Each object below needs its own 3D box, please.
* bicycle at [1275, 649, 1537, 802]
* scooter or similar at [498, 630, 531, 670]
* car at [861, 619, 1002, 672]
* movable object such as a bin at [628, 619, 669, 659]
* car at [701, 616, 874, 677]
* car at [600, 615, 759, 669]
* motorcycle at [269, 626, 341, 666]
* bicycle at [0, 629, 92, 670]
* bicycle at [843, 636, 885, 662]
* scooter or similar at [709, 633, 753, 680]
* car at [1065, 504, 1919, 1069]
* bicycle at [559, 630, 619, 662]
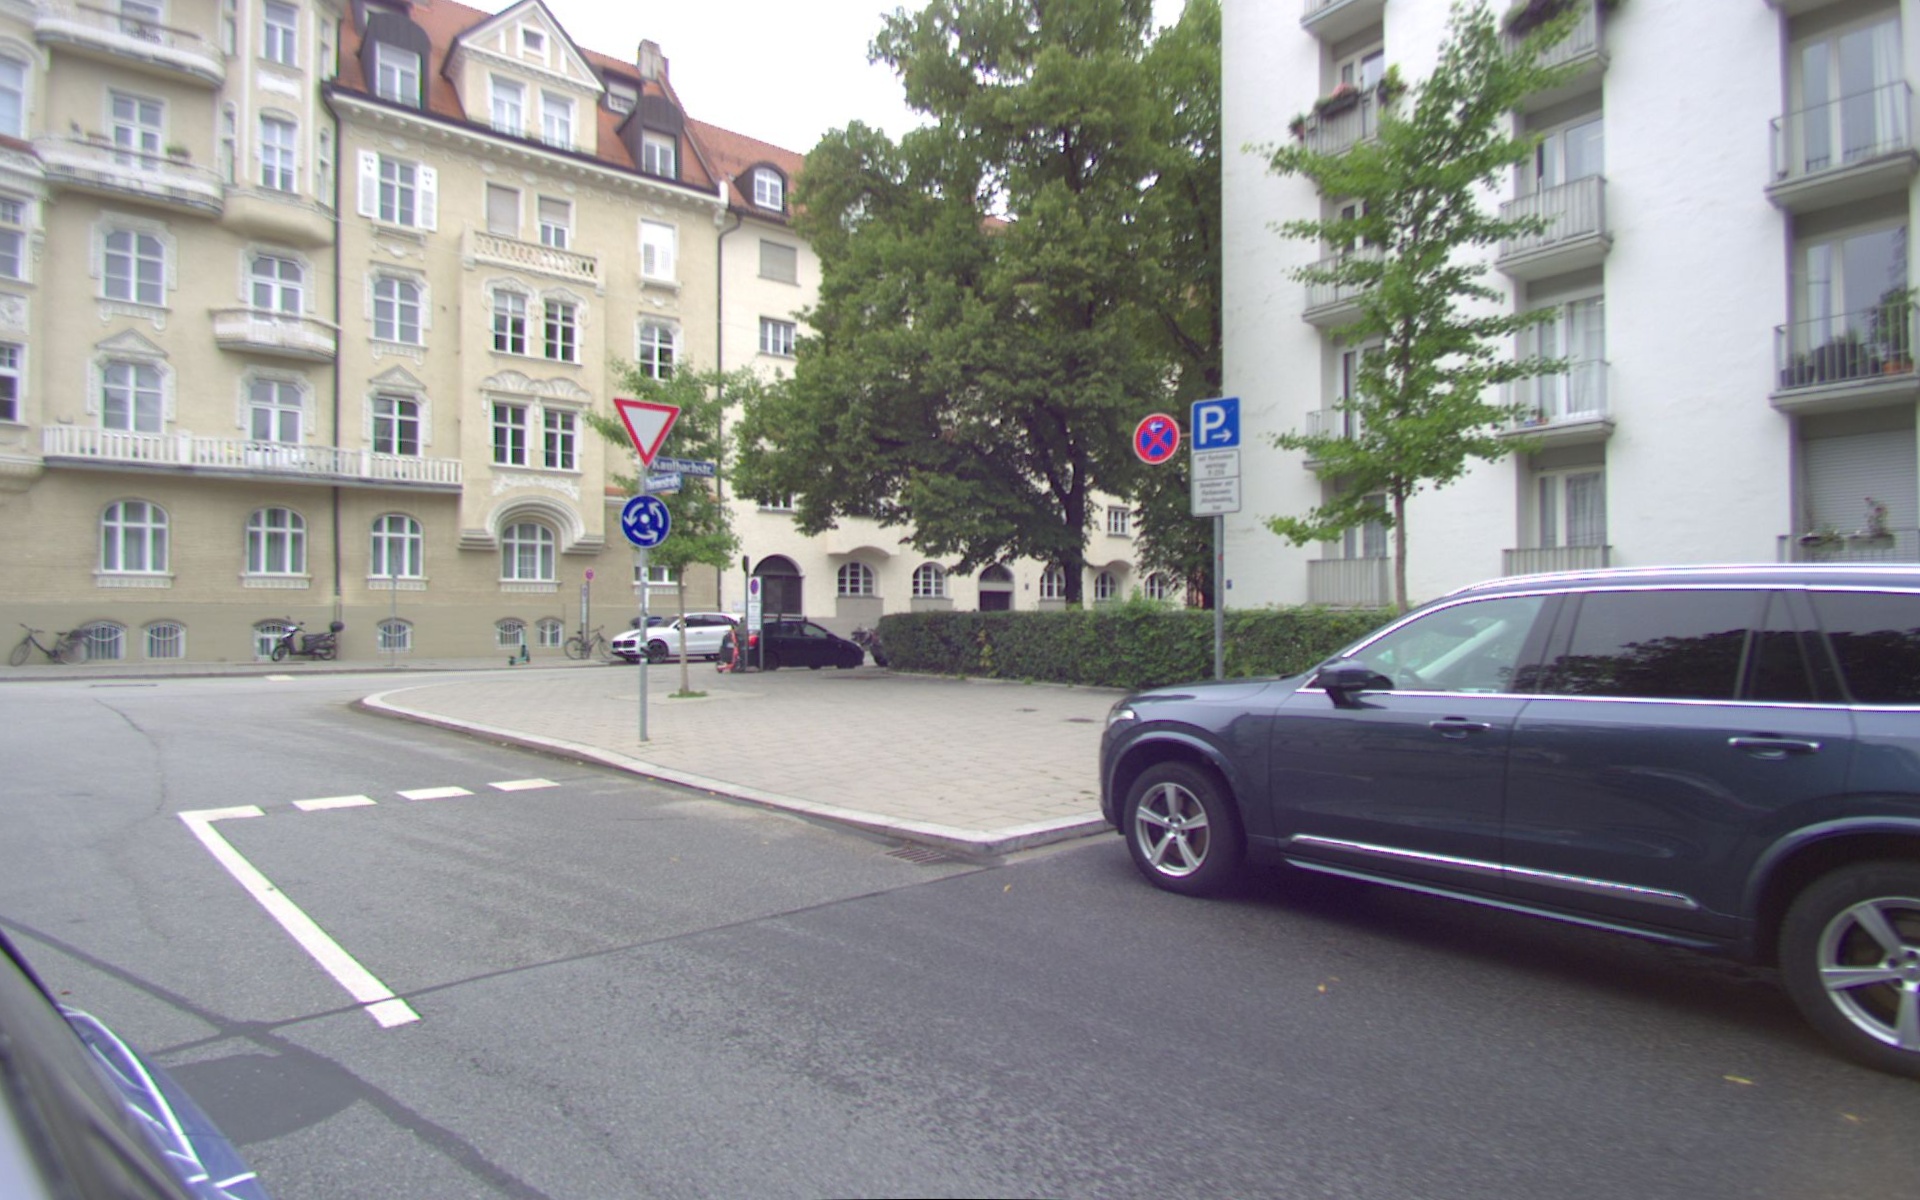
[{"bbox_3d":[3.479,0.934,8.027,1.830,1.057,0.485,-2,-2,42],"label":"bicycle"},{"bbox_3d":[-13.718,1.520,31.153,0.461,1.202,1.215,0,-1,0],"label":"scooter or similar"},{"bbox_3d":[-0.826,1.366,31.007,4.171,1.517,1.801,2,-3,-44],"label":"car"},{"bbox_3d":[-11.488,1.416,37.339,1.154,1.436,1.097,1,-2,-37],"label":"movable object such as a bin"},{"bbox_3d":[-4.617,1.243,27.472,4.355,1.517,1.826,2,-3,-44],"label":"car"},{"bbox_3d":[-9.367,1.365,34.035,4.763,1.713,1.985,1,-2,-39],"label":"car"},{"bbox_3d":[-20.045,1.396,30.992,1.801,1.185,0.601,1,-2,-39],"label":"motorcycle"},{"bbox_3d":[-24.735,1.330,27.427,1.801,1.057,0.565,1,-2,-39],"label":"bicycle"},{"bbox_3d":[-4.151,2.117,43.894,1.801,1.057,0.565,1,-2,-39],"label":"bicycle"},{"bbox_3d":[-5.470,1.343,24.167,0.996,1.097,0.387,0,-2,25],"label":"scooter or similar"},{"bbox_3d":[3.003,0.648,4.796,1.969,1.805,4.918,3,-3,-42],"label":"car"},{"bbox_3d":[-12.513,1.547,34.167,1.801,1.057,0.565,1,-2,-39],"label":"bicycle"}]
